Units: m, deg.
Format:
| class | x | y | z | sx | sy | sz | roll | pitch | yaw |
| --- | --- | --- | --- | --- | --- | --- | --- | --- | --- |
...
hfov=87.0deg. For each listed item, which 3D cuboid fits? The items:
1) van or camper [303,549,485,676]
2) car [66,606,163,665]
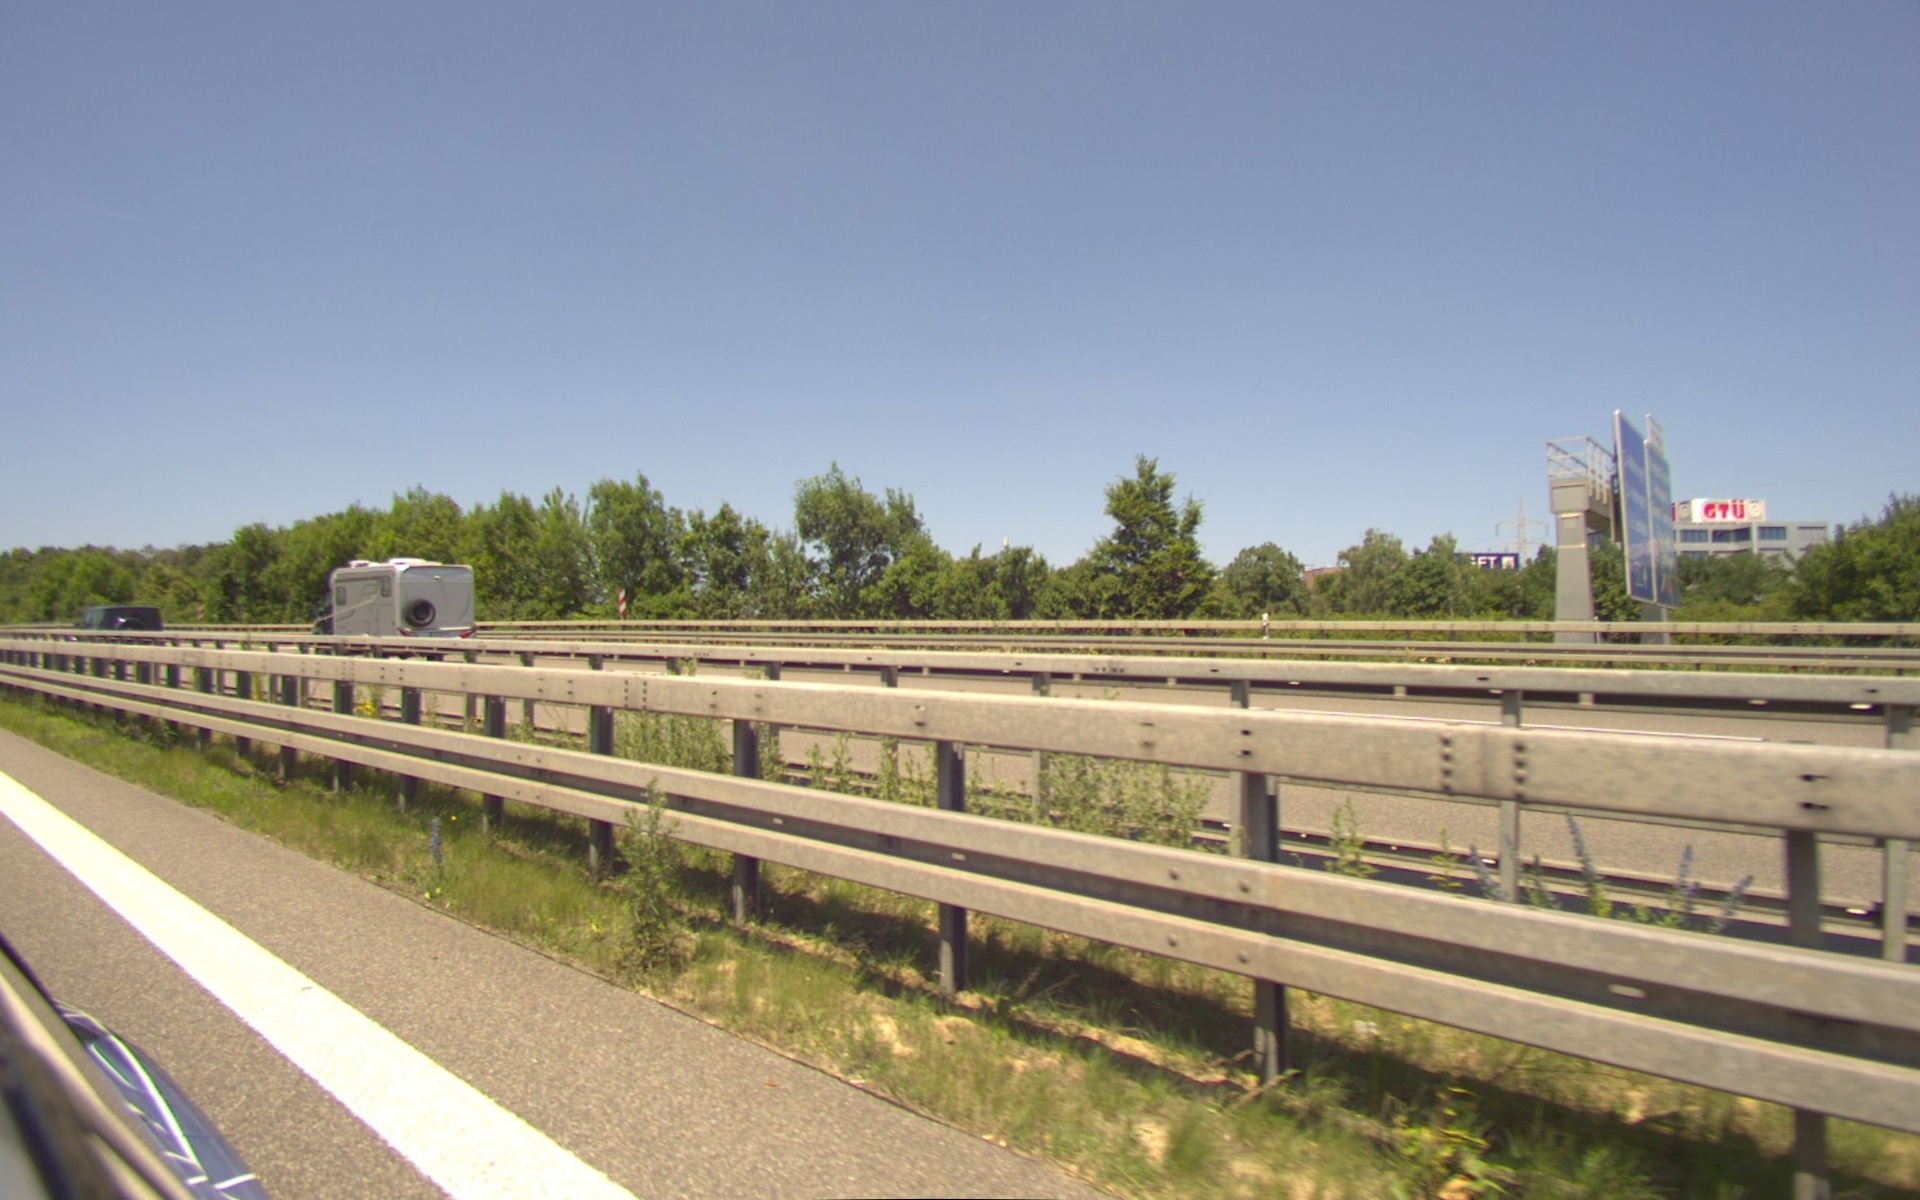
| class | x | y | z | sx | sy | sz | roll | pitch | yaw |
| --- | --- | --- | --- | --- | --- | --- | --- | --- | --- |
| van or camper | -16.713 | 0.399 | 29.651 | 6.824 | 3.336 | 2.291 | -2 | -1 | 39 |
| car | -29.289 | 1.207 | 35.012 | 4.482 | 1.907 | 1.906 | -2 | -1 | 41 |
